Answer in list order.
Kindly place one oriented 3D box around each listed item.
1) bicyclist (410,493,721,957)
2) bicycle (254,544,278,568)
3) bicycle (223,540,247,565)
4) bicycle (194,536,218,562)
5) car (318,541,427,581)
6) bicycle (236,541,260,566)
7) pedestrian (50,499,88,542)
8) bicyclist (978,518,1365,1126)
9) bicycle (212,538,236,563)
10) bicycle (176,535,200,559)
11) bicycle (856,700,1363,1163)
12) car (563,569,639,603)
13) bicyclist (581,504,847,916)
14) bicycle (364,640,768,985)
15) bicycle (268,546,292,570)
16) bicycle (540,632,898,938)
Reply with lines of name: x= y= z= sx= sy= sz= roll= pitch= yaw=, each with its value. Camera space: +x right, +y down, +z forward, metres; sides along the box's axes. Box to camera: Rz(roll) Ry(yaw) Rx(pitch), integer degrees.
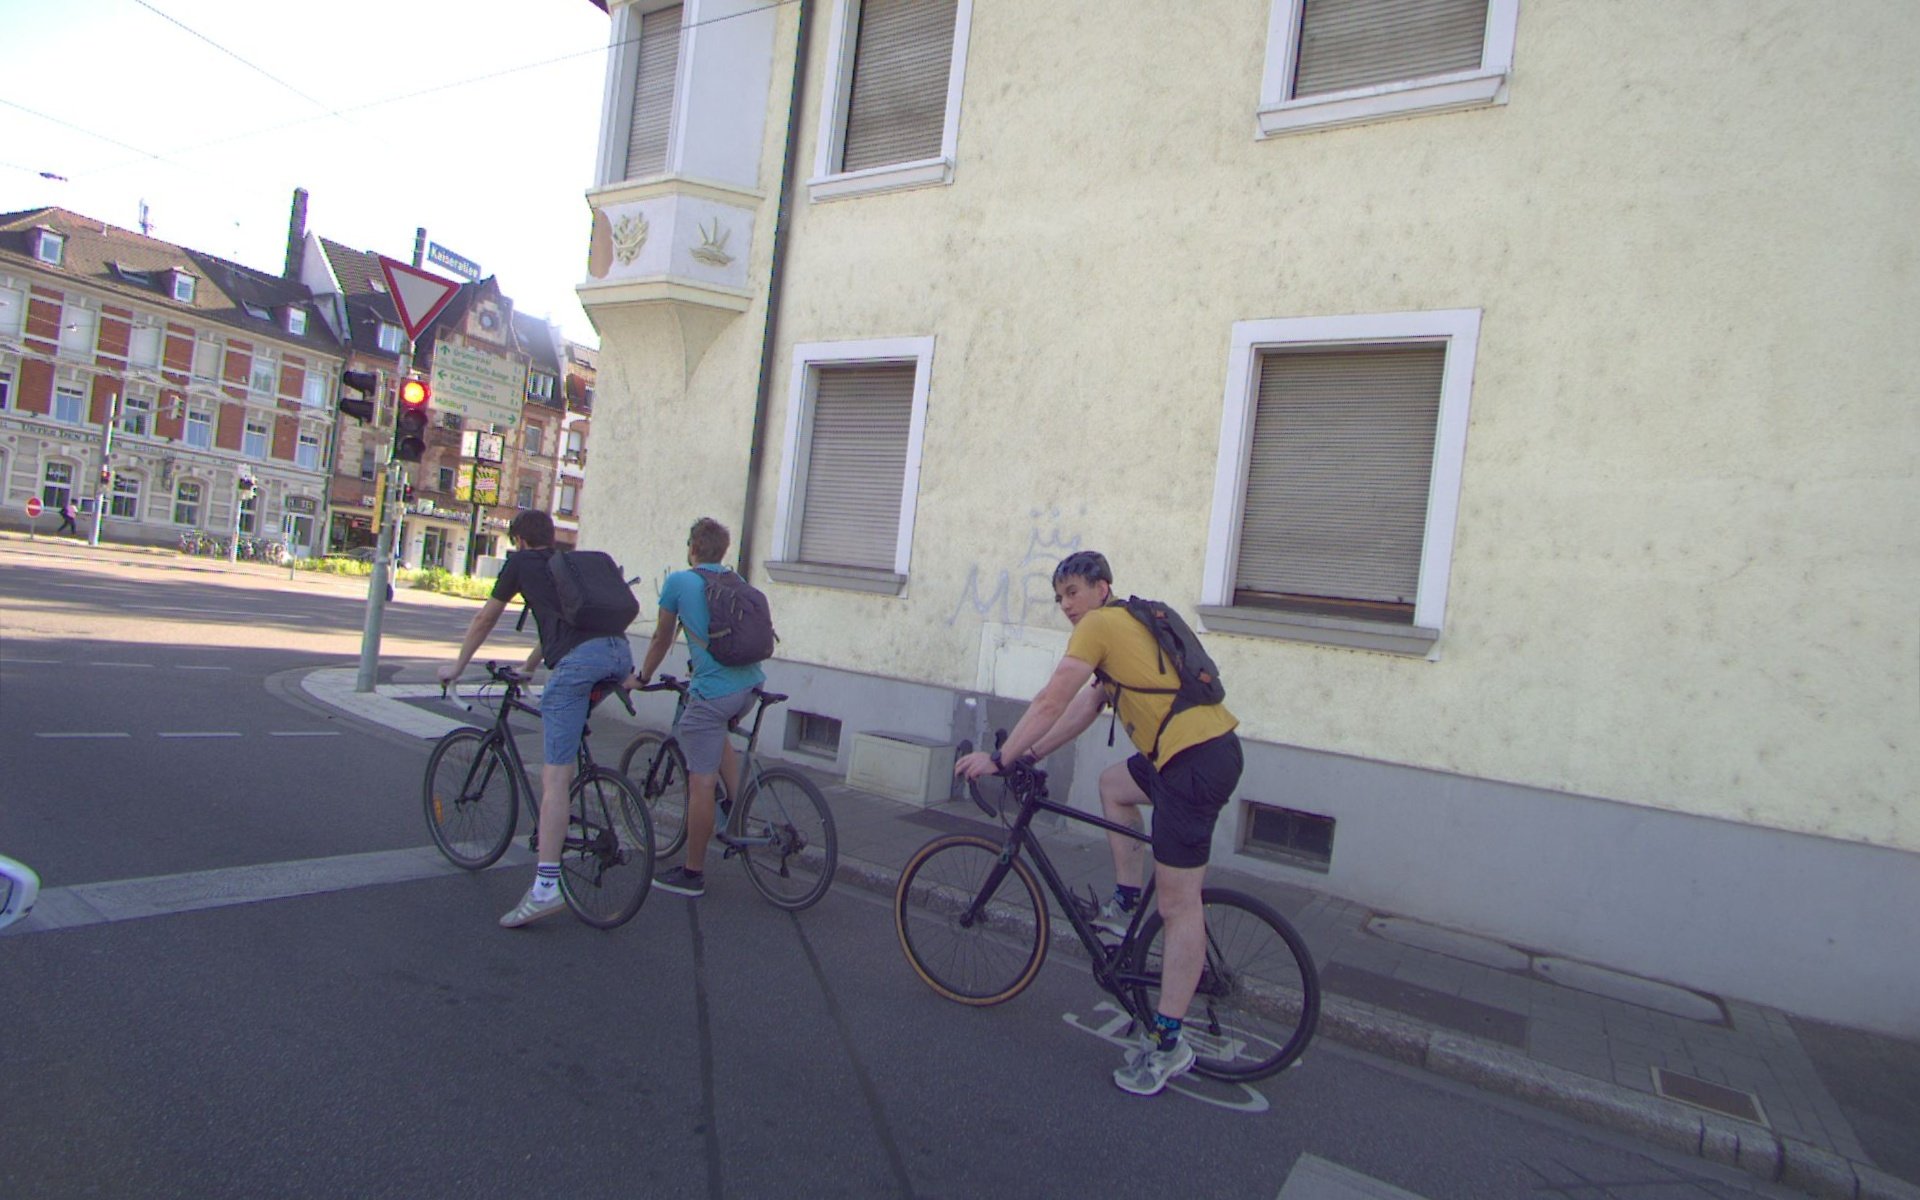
bicyclist: x=-1.752 y=0.490 z=4.473 sx=0.978 sy=1.788 sz=0.652 roll=7 pitch=0 yaw=32
bicycle: x=-33.315 y=-2.115 z=48.293 sx=1.759 sy=1.033 sz=0.485 roll=7 pitch=0 yaw=42
bicycle: x=-34.006 y=-2.251 z=47.173 sx=1.759 sy=1.033 sz=0.485 roll=7 pitch=0 yaw=42
bicycle: x=-34.644 y=-2.341 z=46.204 sx=1.759 sy=1.033 sz=0.485 roll=7 pitch=0 yaw=42
car: x=-27.807 y=-1.817 z=47.725 sx=1.694 sy=1.316 sz=4.066 roll=7 pitch=-1 yaw=32
bicycle: x=-33.678 y=-2.192 z=47.565 sx=1.759 sy=1.033 sz=0.485 roll=7 pitch=0 yaw=42
pedestrian: x=-39.477 y=-3.517 z=44.592 sx=0.620 sy=1.731 sz=1.035 roll=6 pitch=-1 yaw=40
bicyclist: x=0.770 y=0.694 z=3.660 sx=1.019 sy=1.839 sz=0.652 roll=7 pitch=0 yaw=32
bicycle: x=-34.192 y=-2.292 z=46.750 sx=1.759 sy=1.033 sz=0.485 roll=7 pitch=0 yaw=42
bicycle: x=-35.069 y=-2.414 z=45.668 sx=1.759 sy=0.925 sz=0.485 roll=7 pitch=0 yaw=42
bicycle: x=0.511 y=1.088 z=3.776 sx=1.670 sy=1.180 sz=0.571 roll=7 pitch=0 yaw=32
car: x=-23.231 y=-0.891 z=65.264 sx=1.966 sy=1.641 sz=4.261 roll=7 pitch=-1 yaw=29
bicyclist: x=-1.288 y=0.522 z=5.274 sx=0.978 sy=1.910 sz=0.652 roll=7 pitch=0 yaw=32
bicycle: x=-1.801 y=0.833 z=4.471 sx=1.858 sy=1.071 sz=0.571 roll=7 pitch=0 yaw=32
bicycle: x=-33.095 y=-2.058 z=48.981 sx=1.759 sy=1.033 sz=0.485 roll=7 pitch=0 yaw=42
bicycle: x=-1.312 y=0.875 z=5.284 sx=1.858 sy=1.180 sz=0.571 roll=7 pitch=0 yaw=32
